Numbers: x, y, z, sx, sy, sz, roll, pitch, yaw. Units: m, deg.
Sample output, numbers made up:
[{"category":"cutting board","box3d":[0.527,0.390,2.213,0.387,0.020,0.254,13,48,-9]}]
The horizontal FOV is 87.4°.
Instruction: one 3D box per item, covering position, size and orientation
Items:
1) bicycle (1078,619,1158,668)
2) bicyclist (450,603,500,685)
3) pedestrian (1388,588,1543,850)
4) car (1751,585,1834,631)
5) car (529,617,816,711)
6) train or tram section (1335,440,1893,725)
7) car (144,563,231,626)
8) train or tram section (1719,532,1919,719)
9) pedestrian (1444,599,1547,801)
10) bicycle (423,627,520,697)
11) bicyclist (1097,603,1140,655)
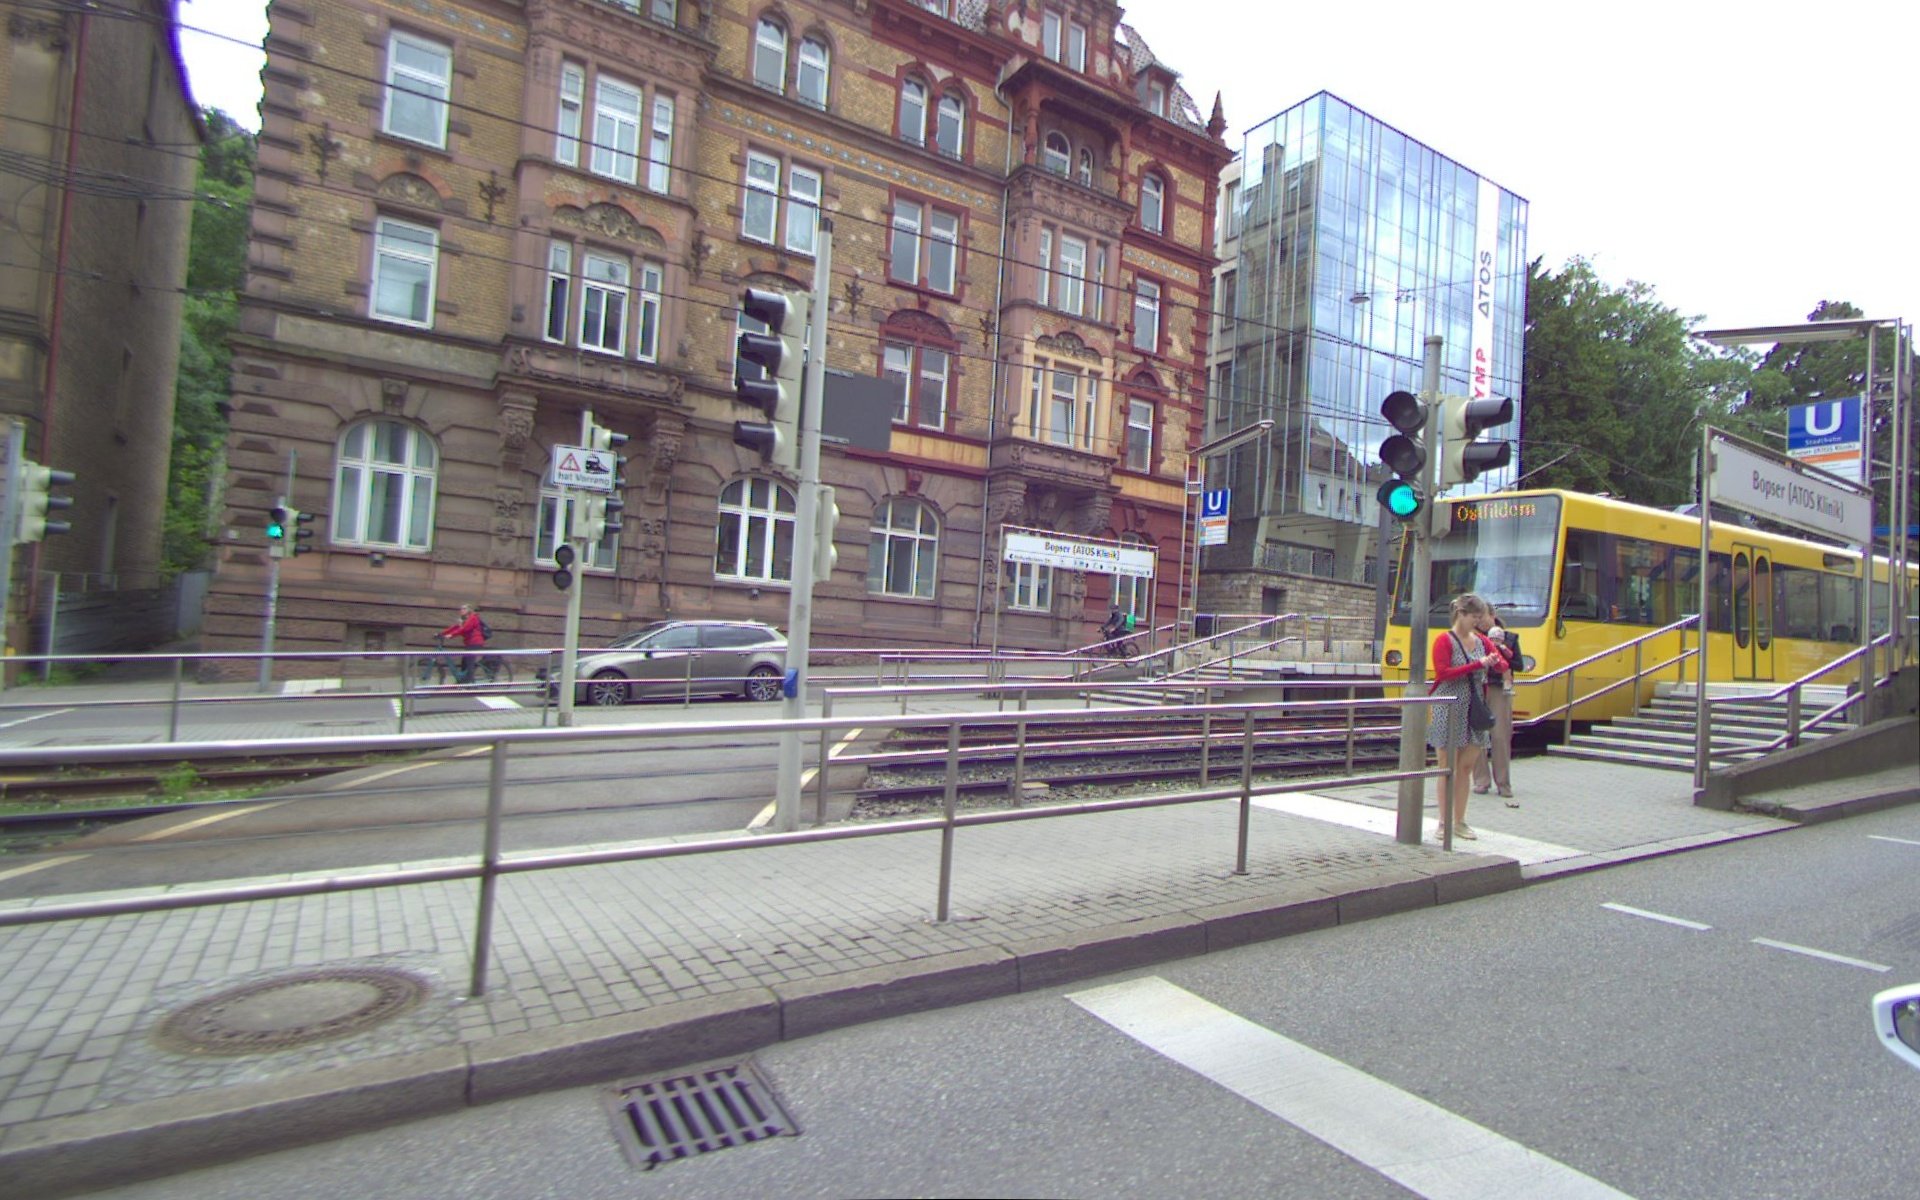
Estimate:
[{"category":"bicycle","box3d":[4.452,1.208,28.186,2.403,1.301,0.768,1,-1,-36]},{"category":"bicyclist","box3d":[-9.030,0.811,18.706,0.802,1.500,0.615,1,-1,-30]},{"category":"pedestrian","box3d":[3.490,0.779,6.964,0.675,1.702,0.677,1,0,-21]},{"category":"car","box3d":[39.971,0.368,48.224,3.958,2.040,1.981,2,0,-33]},{"category":"car","box3d":[-4.964,1.037,17.578,4.511,1.437,1.871,1,-1,-33]},{"category":"train or tram section","box3d":[11.668,0.156,17.071,12.260,3.589,2.934,4,-2,-31]},{"category":"car","box3d":[-26.829,-0.154,35.017,1.978,2.040,3.965,1,-1,-32]},{"category":"train or tram section","box3d":[22.150,0.956,23.365,12.084,3.516,2.934,5,-3,-31]},{"category":"pedestrian","box3d":[4.786,0.855,8.979,0.655,1.717,0.616,2,-1,-41]},{"category":"bicycle","box3d":[-9.039,1.126,18.594,1.582,1.239,0.622,1,-1,-29]},{"category":"bicyclist","box3d":[4.453,0.804,28.171,0.897,1.447,0.763,1,-1,-35]}]
